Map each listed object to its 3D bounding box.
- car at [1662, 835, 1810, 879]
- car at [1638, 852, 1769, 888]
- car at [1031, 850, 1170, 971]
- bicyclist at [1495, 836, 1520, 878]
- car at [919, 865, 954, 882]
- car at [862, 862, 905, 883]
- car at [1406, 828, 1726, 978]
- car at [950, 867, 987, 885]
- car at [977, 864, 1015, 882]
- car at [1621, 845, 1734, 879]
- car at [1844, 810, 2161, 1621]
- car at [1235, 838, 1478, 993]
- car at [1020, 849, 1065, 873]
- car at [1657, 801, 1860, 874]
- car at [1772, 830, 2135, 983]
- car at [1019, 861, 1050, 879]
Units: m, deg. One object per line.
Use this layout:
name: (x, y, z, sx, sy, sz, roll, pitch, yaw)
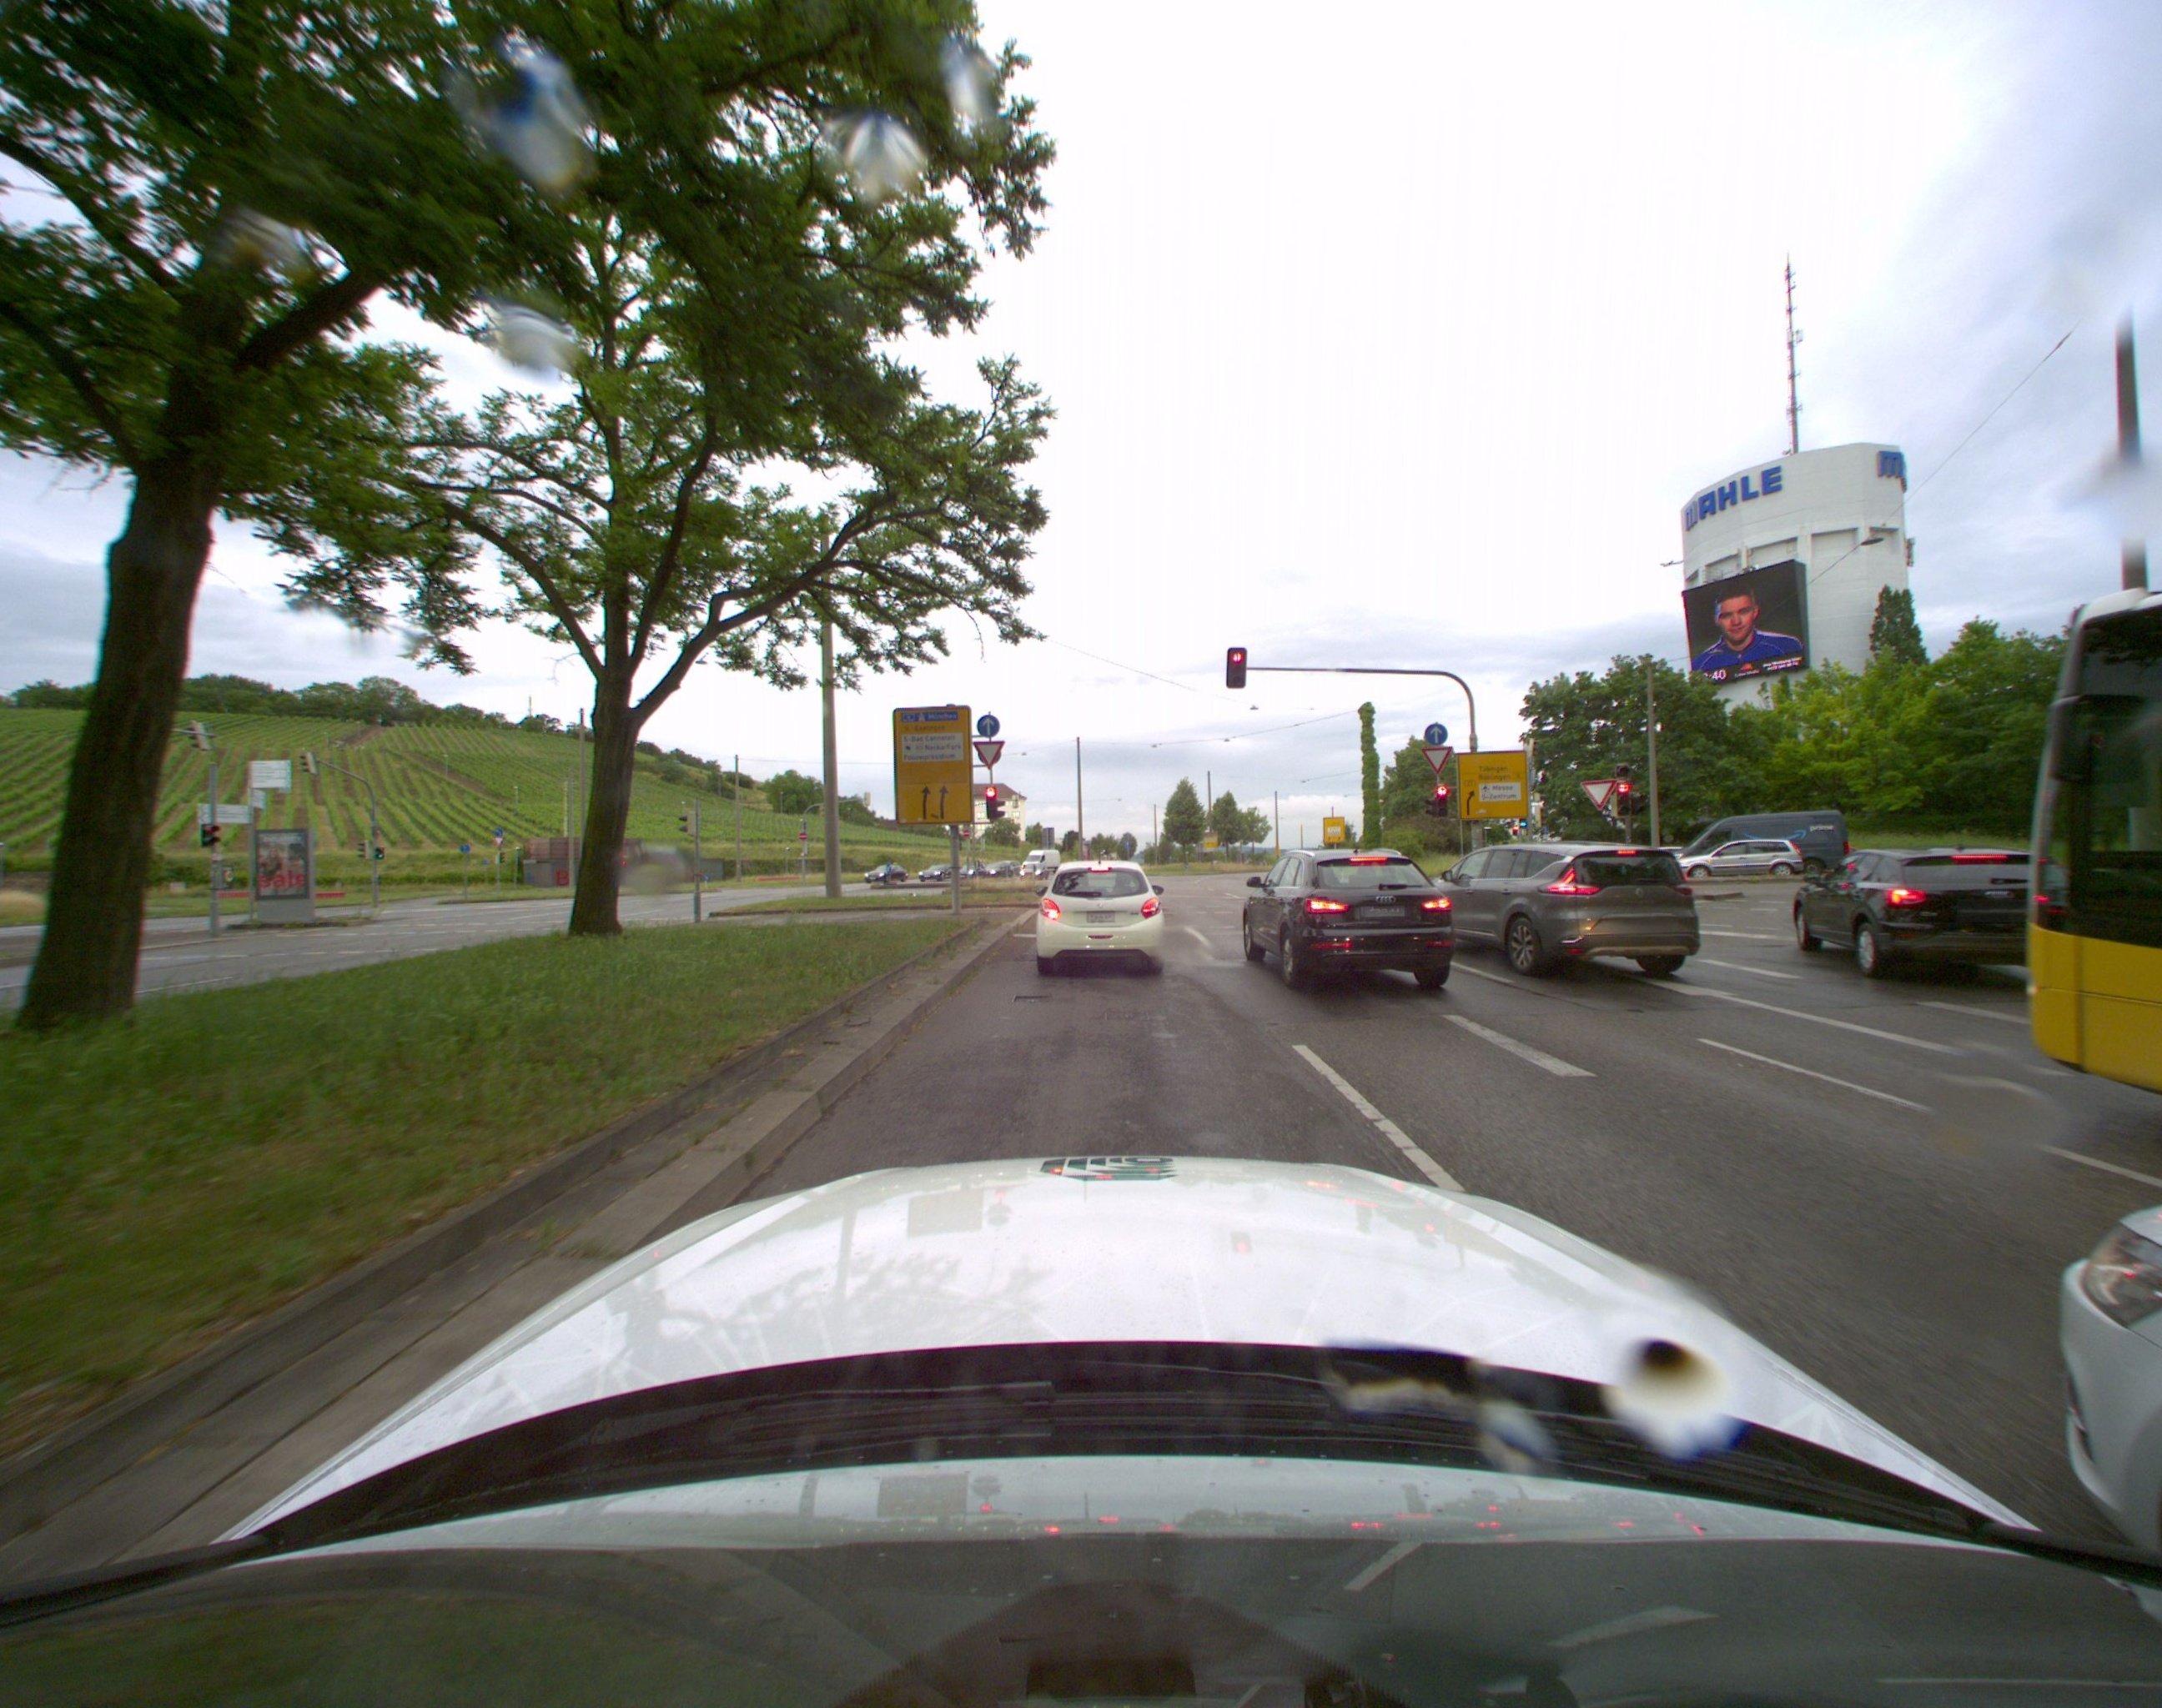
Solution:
car: (24.734, 0.171, 30.941, 4.011, 1.569, 1.881, -1, -3, 25)
car: (27.586, 0.722, 36.274, 4.327, 1.520, 1.739, -1, -1, 25)
car: (0.299, 0.735, 12.156, 1.711, 1.489, 4.001, -1, -1, 1)
bicyclist: (16.263, 0.128, 31.052, 0.801, 1.584, 1.029, 0, -1, 29)
car: (-12.071, 1.662, 68.403, 1.776, 1.396, 3.890, 0, -2, 8)
car: (-16.187, 1.504, 66.883, 1.819, 1.624, 4.576, 0, -1, 8)
car: (6.399, 0.543, 11.490, 1.858, 1.674, 4.566, -1, 0, 1)
car: (-9.147, 1.782, 66.367, 1.774, 1.396, 3.894, 0, -2, 12)
car: (-7.523, 1.650, 72.373, 1.888, 1.489, 4.909, 0, -1, 13)
car: (28.745, 0.387, 39.404, 4.094, 1.564, 1.881, -1, -1, 22)
car: (2.763, 0.627, 0.141, 1.735, 1.432, 3.811, 0, -1, 1)
car: (3.258, 0.667, 10.540, 1.877, 1.596, 4.115, 0, -1, 2)
car: (-4.194, 0.823, 90.006, 1.975, 2.559, 6.206, 0, -1, 28)
car: (27.209, -0.573, 33.058, 5.953, 2.741, 2.094, -1, -2, 28)
car: (10.486, 0.590, 10.264, 1.847, 1.498, 4.177, -4, -2, 29)
car: (-3.783, 1.296, 67.095, 1.766, 1.425, 4.382, -2, -1, 7)
